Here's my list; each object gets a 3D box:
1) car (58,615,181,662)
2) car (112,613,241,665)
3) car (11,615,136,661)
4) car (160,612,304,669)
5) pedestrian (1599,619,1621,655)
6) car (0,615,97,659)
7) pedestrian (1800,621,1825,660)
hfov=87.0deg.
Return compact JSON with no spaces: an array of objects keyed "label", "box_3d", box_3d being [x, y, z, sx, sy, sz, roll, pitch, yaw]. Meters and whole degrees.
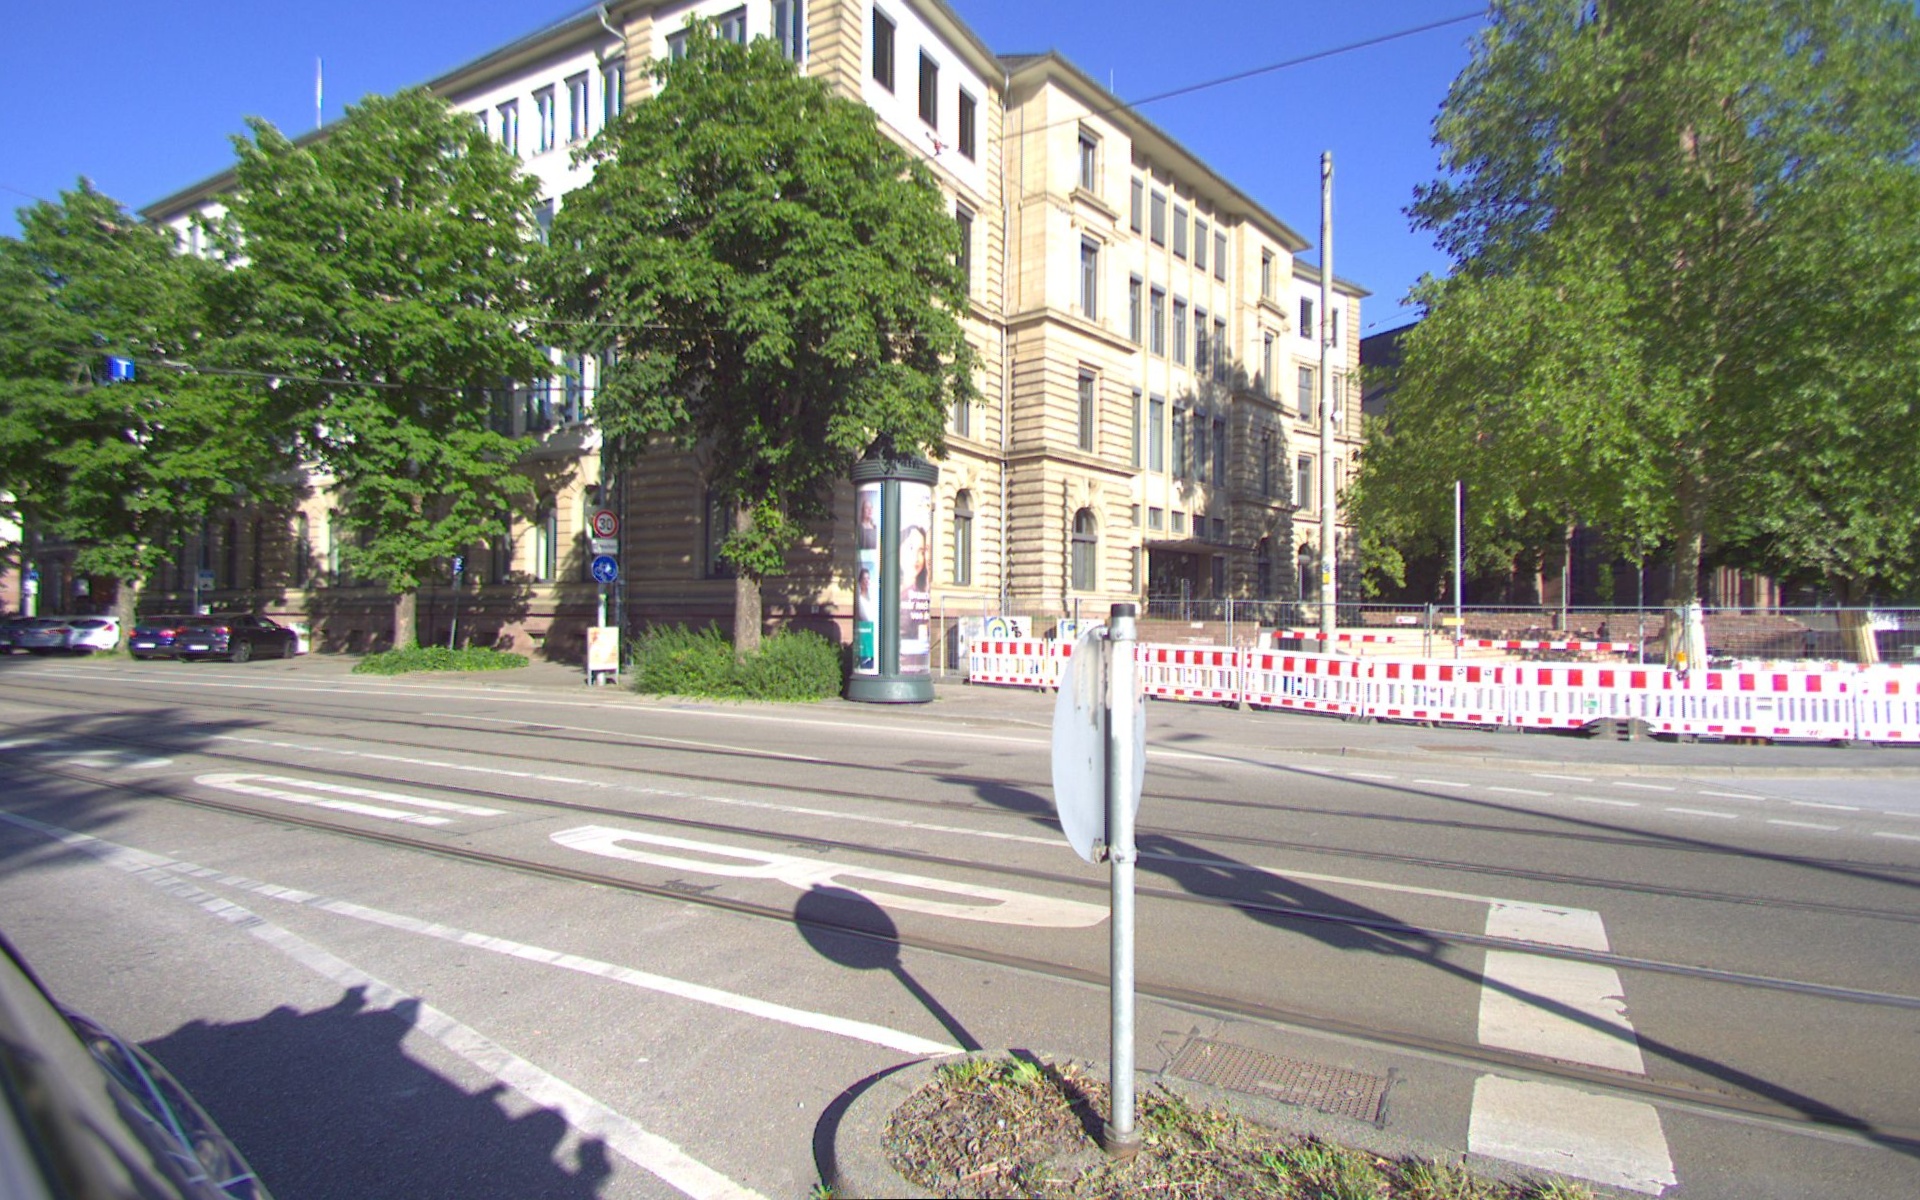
[{"label":"car","box_3d":[-30.918,1.375,37.357,1.626,1.572,3.652,-1,0,-3]},{"label":"car","box_3d":[-26.247,1.272,34.040,1.626,1.572,3.652,-1,0,-3]},{"label":"car","box_3d":[-33.231,1.393,38.068,1.626,1.572,3.652,-1,0,-3]},{"label":"car","box_3d":[-23.618,1.262,33.038,1.819,1.643,4.184,-1,0,-3]},{"label":"pedestrian","box_3d":[30.567,1.730,47.609,0.627,1.660,0.677,1,-2,-37]},{"label":"car","box_3d":[-36.247,1.415,39.776,1.626,1.572,3.652,-1,0,-3]},{"label":"pedestrian","box_3d":[36.784,1.729,43.681,0.666,1.660,0.762,1,-2,-45]}]
